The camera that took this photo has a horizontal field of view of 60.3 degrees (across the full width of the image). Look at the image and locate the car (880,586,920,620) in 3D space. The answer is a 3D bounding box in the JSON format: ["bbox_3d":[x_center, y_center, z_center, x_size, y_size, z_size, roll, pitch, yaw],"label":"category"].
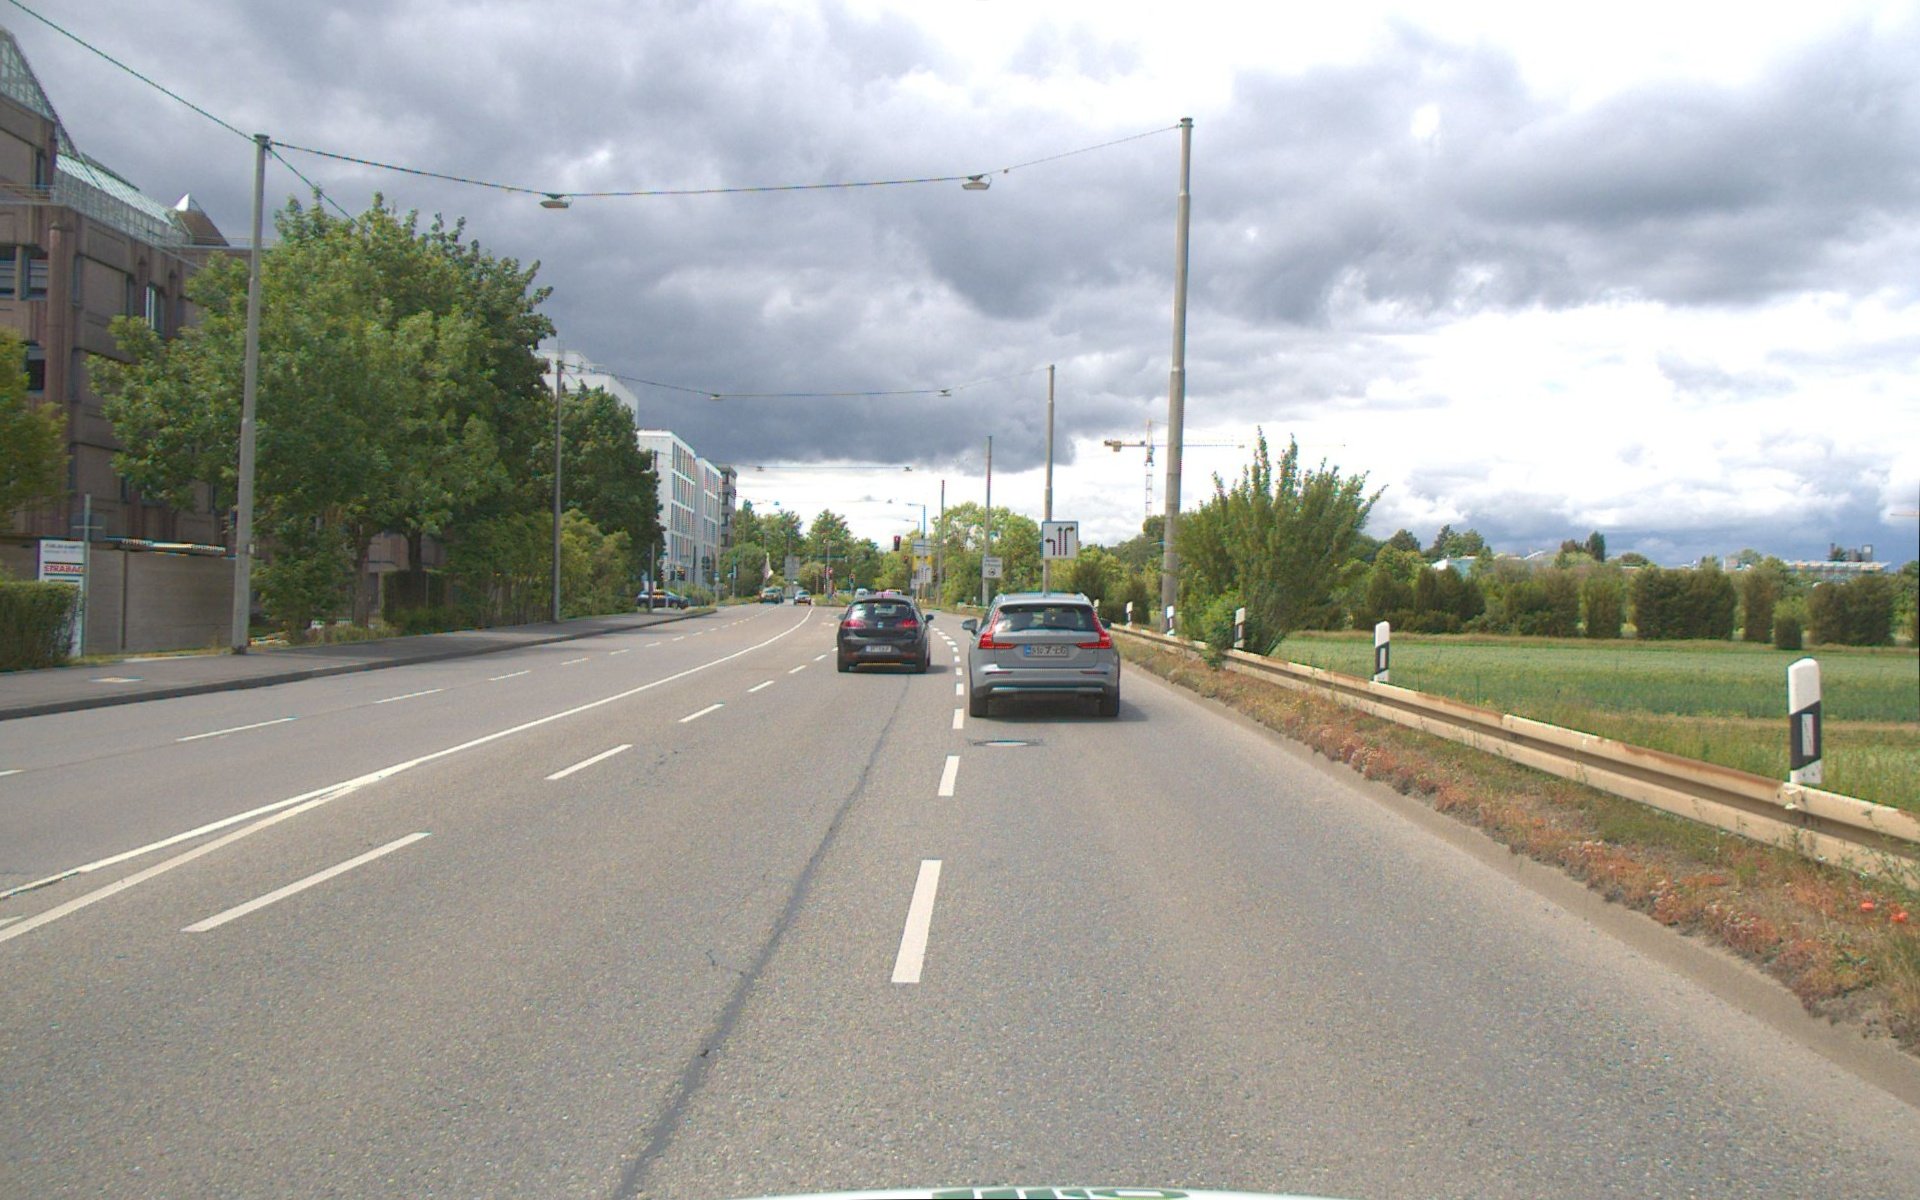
[{"bbox_3d":[-3.329,0.176,92.095,1.953,1.724,4.000,3,-1,1],"label":"car"}]

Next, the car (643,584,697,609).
[{"bbox_3d":[-23.248,-0.282,132.757,3.906,1.752,2.000,3,-1,0],"label":"car"}]

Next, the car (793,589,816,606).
[{"bbox_3d":[-15.439,-0.268,164.036,1.843,1.547,3.999,3,-1,0],"label":"car"}]

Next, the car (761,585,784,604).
[{"bbox_3d":[-18.794,-0.555,165.994,1.843,1.747,3.999,3,-1,0],"label":"car"}]

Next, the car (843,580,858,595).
[{"bbox_3d":[-14.661,-1.619,221.132,1.910,1.780,4.385,3,-1,-3],"label":"car"}]

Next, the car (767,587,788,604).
[{"bbox_3d":[-20.058,-0.467,181.916,1.843,1.747,3.999,3,-1,0],"label":"car"}]

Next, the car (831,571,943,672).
[{"bbox_3d":[-1.362,0.420,32.402,1.953,1.747,3.999,3,-1,-1],"label":"car"}]

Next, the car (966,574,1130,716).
[{"bbox_3d":[1.105,0.539,21.032,1.856,1.581,4.001,1,-1,3],"label":"car"}]
